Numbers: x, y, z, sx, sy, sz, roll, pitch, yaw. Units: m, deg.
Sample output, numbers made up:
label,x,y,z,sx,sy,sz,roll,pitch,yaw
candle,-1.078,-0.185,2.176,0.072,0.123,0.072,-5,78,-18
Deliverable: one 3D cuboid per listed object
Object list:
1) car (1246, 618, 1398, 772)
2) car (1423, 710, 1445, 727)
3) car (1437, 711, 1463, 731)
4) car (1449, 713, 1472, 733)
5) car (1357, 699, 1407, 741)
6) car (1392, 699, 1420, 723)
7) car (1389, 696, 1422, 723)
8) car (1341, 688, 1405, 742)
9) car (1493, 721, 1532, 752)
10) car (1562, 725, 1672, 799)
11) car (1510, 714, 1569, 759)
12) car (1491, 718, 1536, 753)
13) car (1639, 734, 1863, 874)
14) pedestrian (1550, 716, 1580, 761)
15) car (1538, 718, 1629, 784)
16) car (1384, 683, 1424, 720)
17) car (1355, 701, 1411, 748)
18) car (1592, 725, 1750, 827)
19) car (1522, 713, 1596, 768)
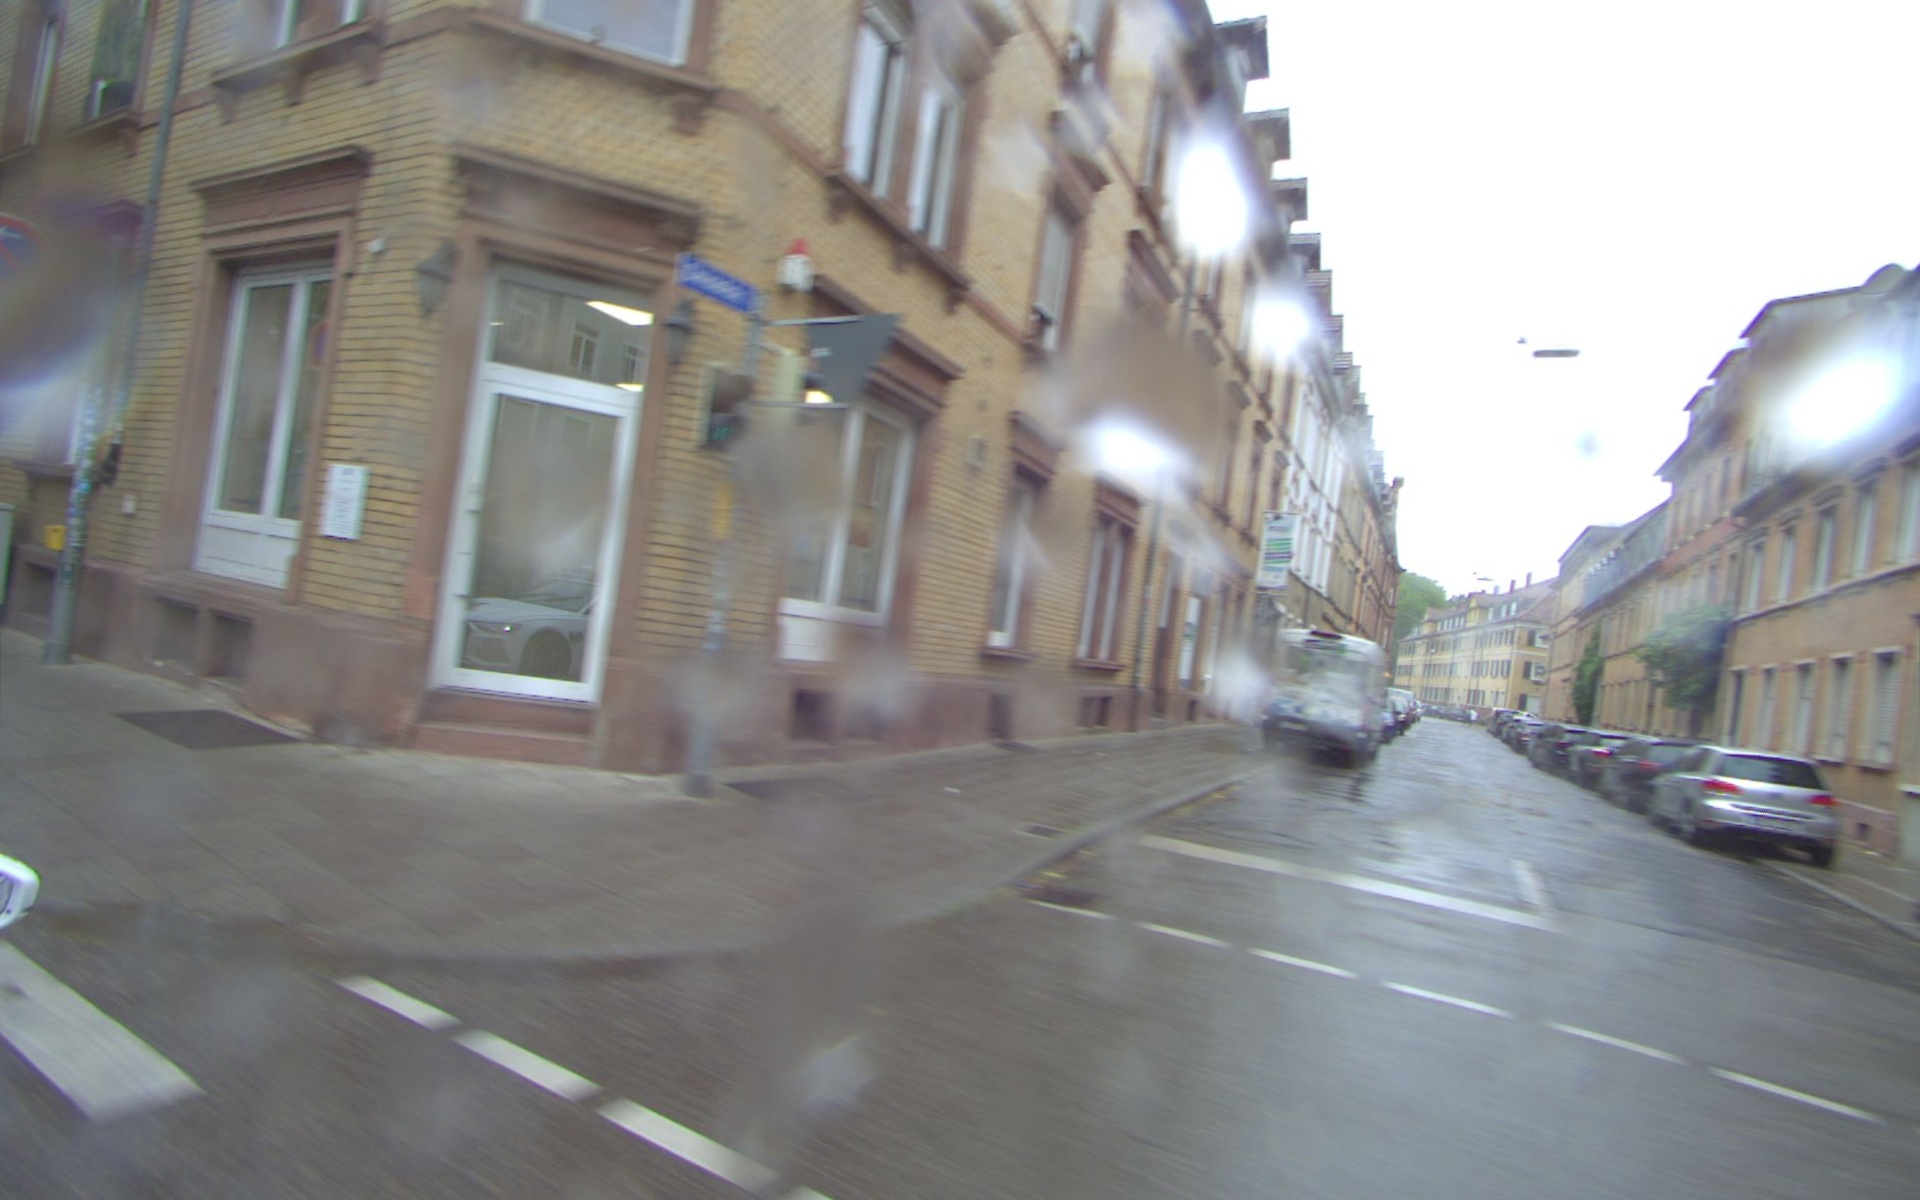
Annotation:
label,x,y,z,sx,sy,sz,roll,pitch,yaw
car,7.619,1.943,20.825,2.085,2.541,4.745,8,-1,27
car,51.745,12.896,109.870,1.760,1.552,3.741,5,-3,21
car,48.042,11.848,98.657,1.760,1.552,3.742,5,-3,19
car,46.770,11.462,94.025,1.762,1.552,3.739,4,-3,25
car,18.466,5.202,43.938,1.762,1.552,3.739,4,-3,25
car,33.602,8.313,75.690,1.762,1.552,3.739,4,-3,25
car,29.174,7.153,65.826,1.762,1.552,3.739,4,-3,25
car,14.235,3.914,34.545,1.762,1.552,3.739,4,-3,25
car,33.853,8.323,61.749,1.762,1.552,3.739,4,-3,25
car,16.495,4.018,25.419,1.762,1.451,3.476,4,-3,25
car,24.534,5.746,42.696,1.762,1.552,3.739,4,-3,25
car,29.292,7.149,53.326,1.762,1.552,3.739,4,-3,25
car,11.979,2.990,15.534,1.762,1.508,4.014,4,-3,25
pedestrian,29.508,6.732,49.055,0.974,2.037,1.104,7,-1,28
car,18.166,4.352,29.442,1.762,1.552,3.476,4,-3,25
car,28.085,6.397,63.555,1.965,2.037,3.999,7,-1,26
car,16.463,4.782,39.089,1.762,1.552,3.739,4,-3,25
car,14.182,3.430,20.341,1.762,1.508,4.423,4,-3,25
car,20.880,4.870,35.208,1.762,1.552,3.739,4,-3,25
